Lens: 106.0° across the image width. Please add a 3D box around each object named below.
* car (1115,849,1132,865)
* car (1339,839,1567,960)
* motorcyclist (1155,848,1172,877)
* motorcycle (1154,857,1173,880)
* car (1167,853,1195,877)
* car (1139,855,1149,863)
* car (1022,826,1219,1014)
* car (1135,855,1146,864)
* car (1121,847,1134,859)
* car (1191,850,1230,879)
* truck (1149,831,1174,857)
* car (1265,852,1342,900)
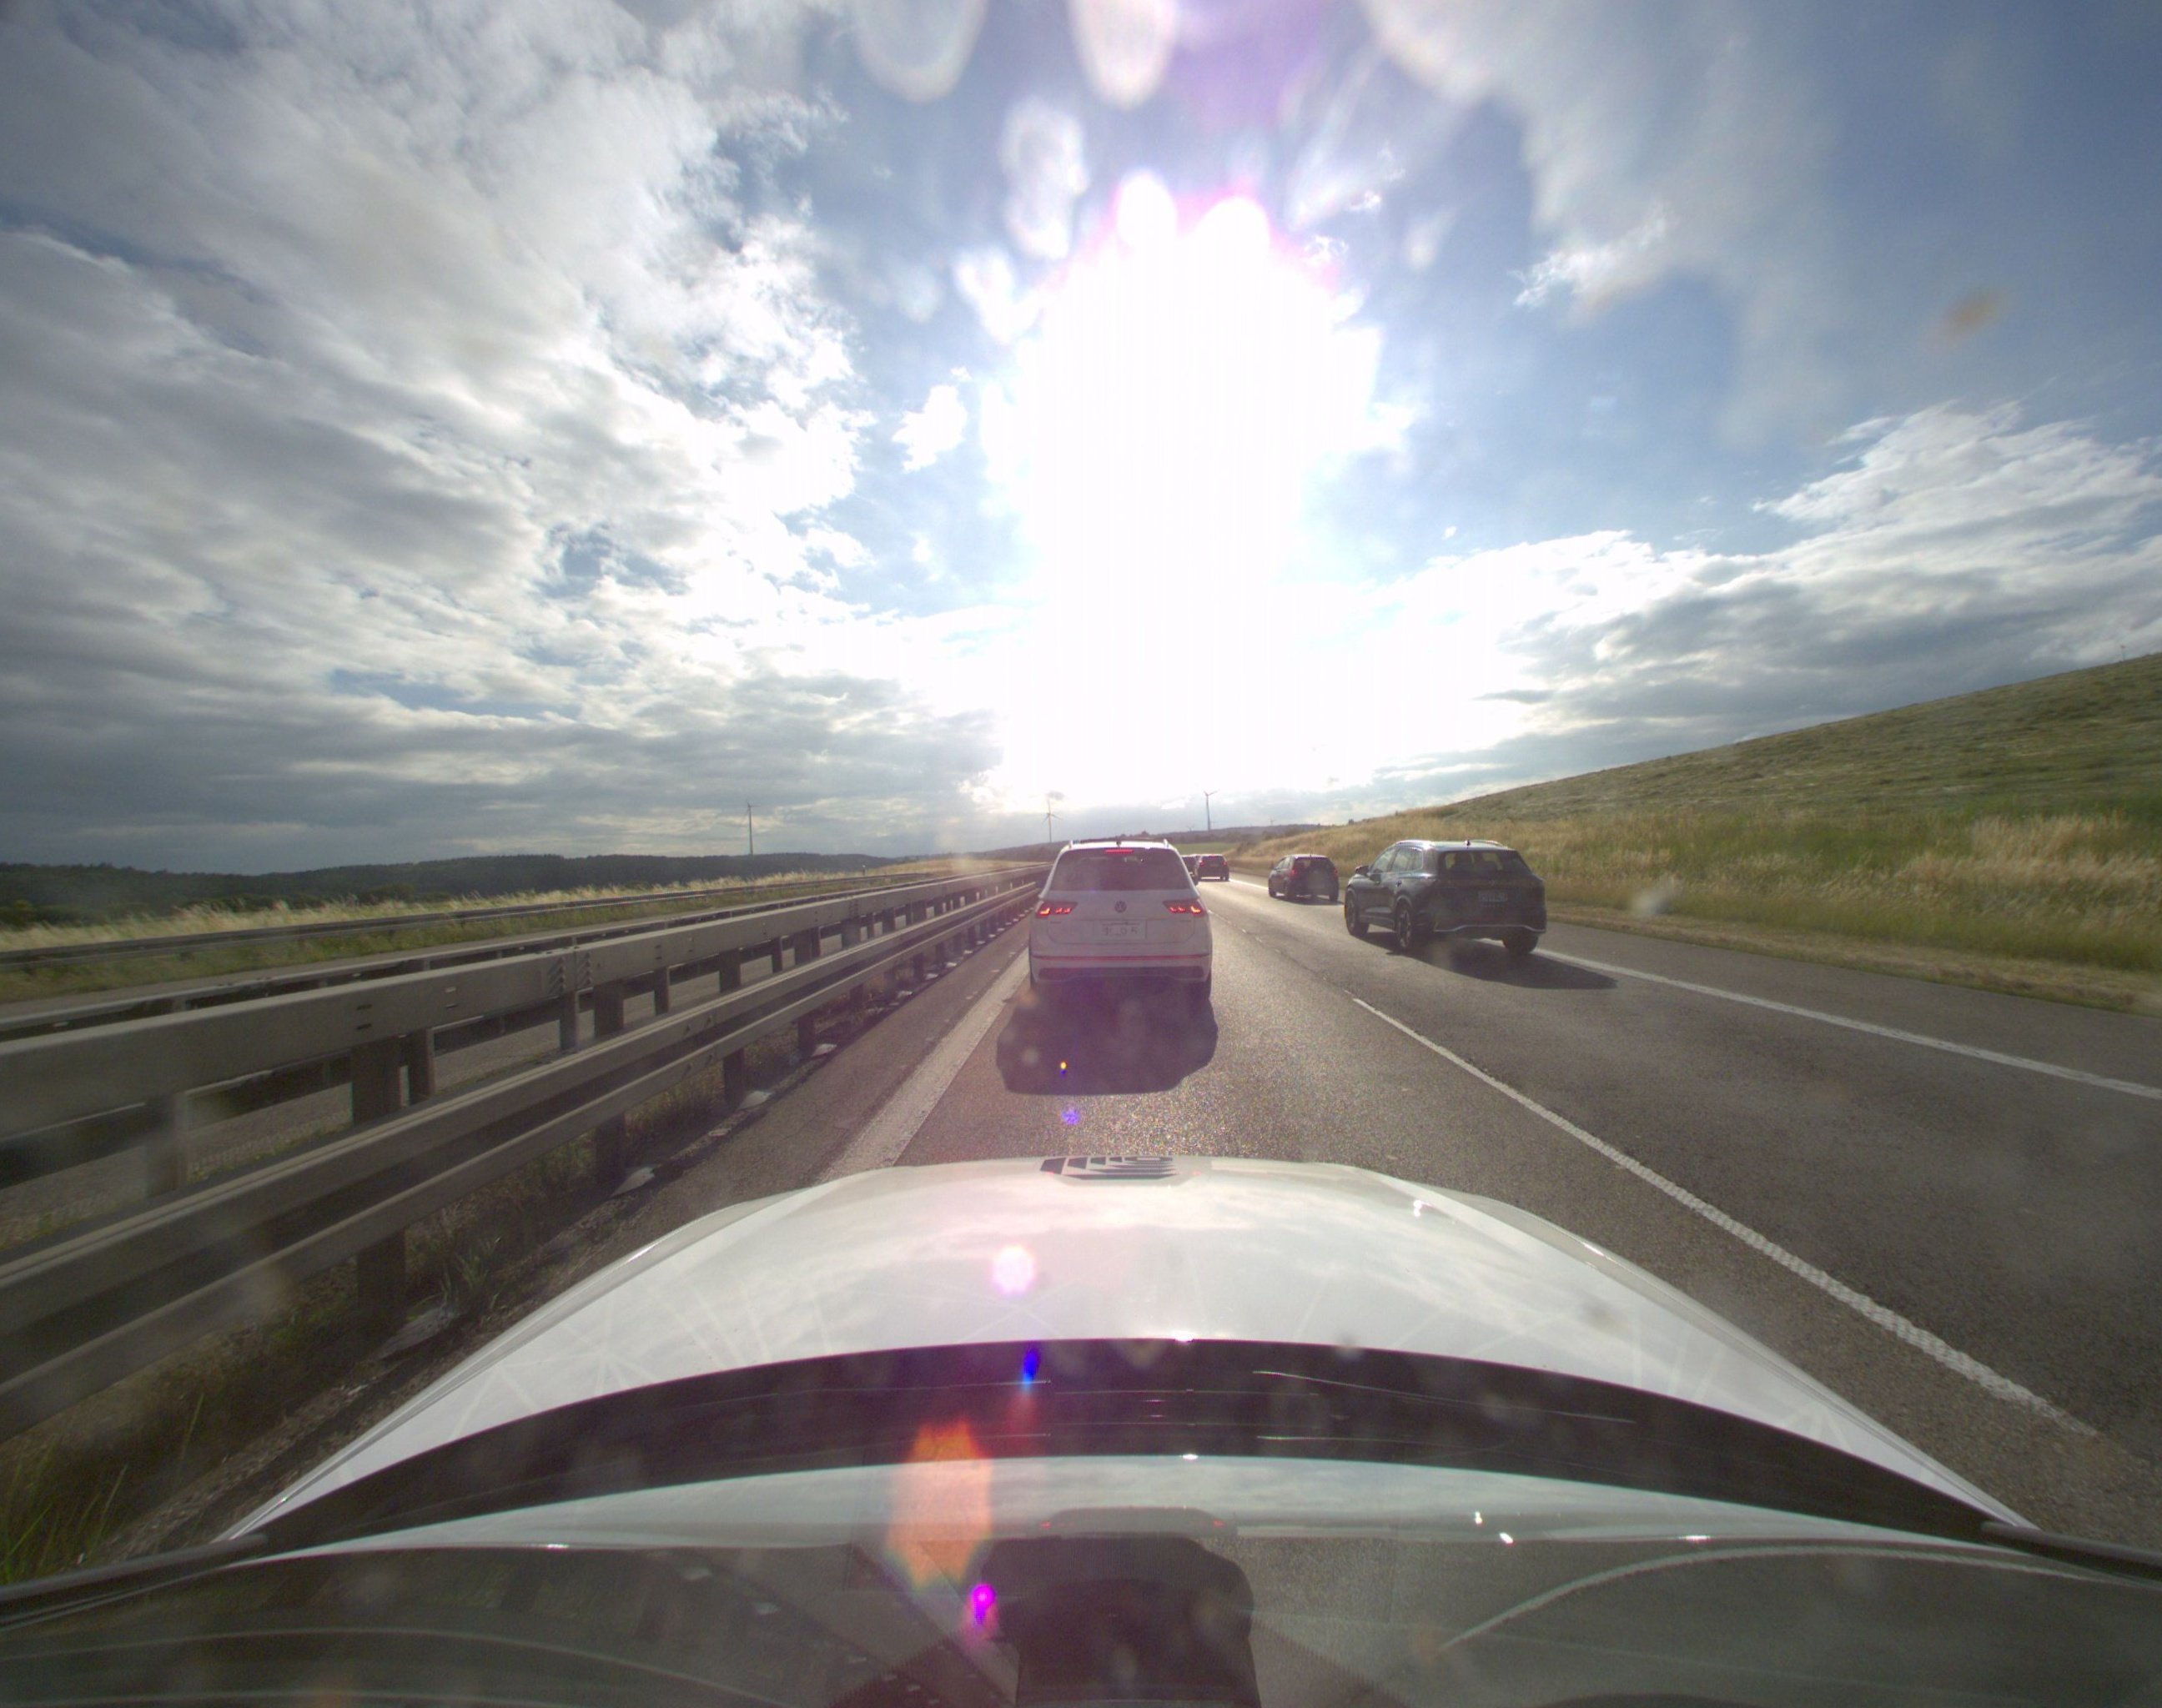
[{"bbox_3d":[4.418,0.315,84.618,1.697,1.650,4.002,-1,0,2],"label":"car"},{"bbox_3d":[5.636,0.623,12.990,1.814,1.601,4.236,0,0,2],"label":"car"},{"bbox_3d":[4.534,0.464,44.839,0.846,1.560,0.934,-1,-1,1],"label":"motorcyclist"},{"bbox_3d":[4.540,0.791,44.881,0.892,1.190,2.257,-1,0,1],"label":"motorcycle"},{"bbox_3d":[7.327,0.797,60.149,1.697,1.650,4.002,-1,0,2],"label":"car"},{"bbox_3d":[12.441,0.907,161.371,1.697,1.546,4.002,-1,0,2],"label":"car"},{"bbox_3d":[0.426,0.613,9.417,1.763,1.675,4.002,-1,0,2],"label":"car"},{"bbox_3d":[10.931,1.039,150.038,1.697,1.546,4.002,-1,0,2],"label":"car"},{"bbox_3d":[6.504,-0.156,114.626,1.697,1.546,4.002,-1,0,2],"label":"car"},{"bbox_3d":[7.265,0.590,46.074,1.697,1.546,4.002,-1,0,2],"label":"car"},{"bbox_3d":[11.478,-1.410,117.197,3.170,3.593,11.142,-1,0,4],"label":"truck"},{"bbox_3d":[7.136,0.669,26.484,1.599,1.420,3.674,-1,0,2],"label":"car"}]
